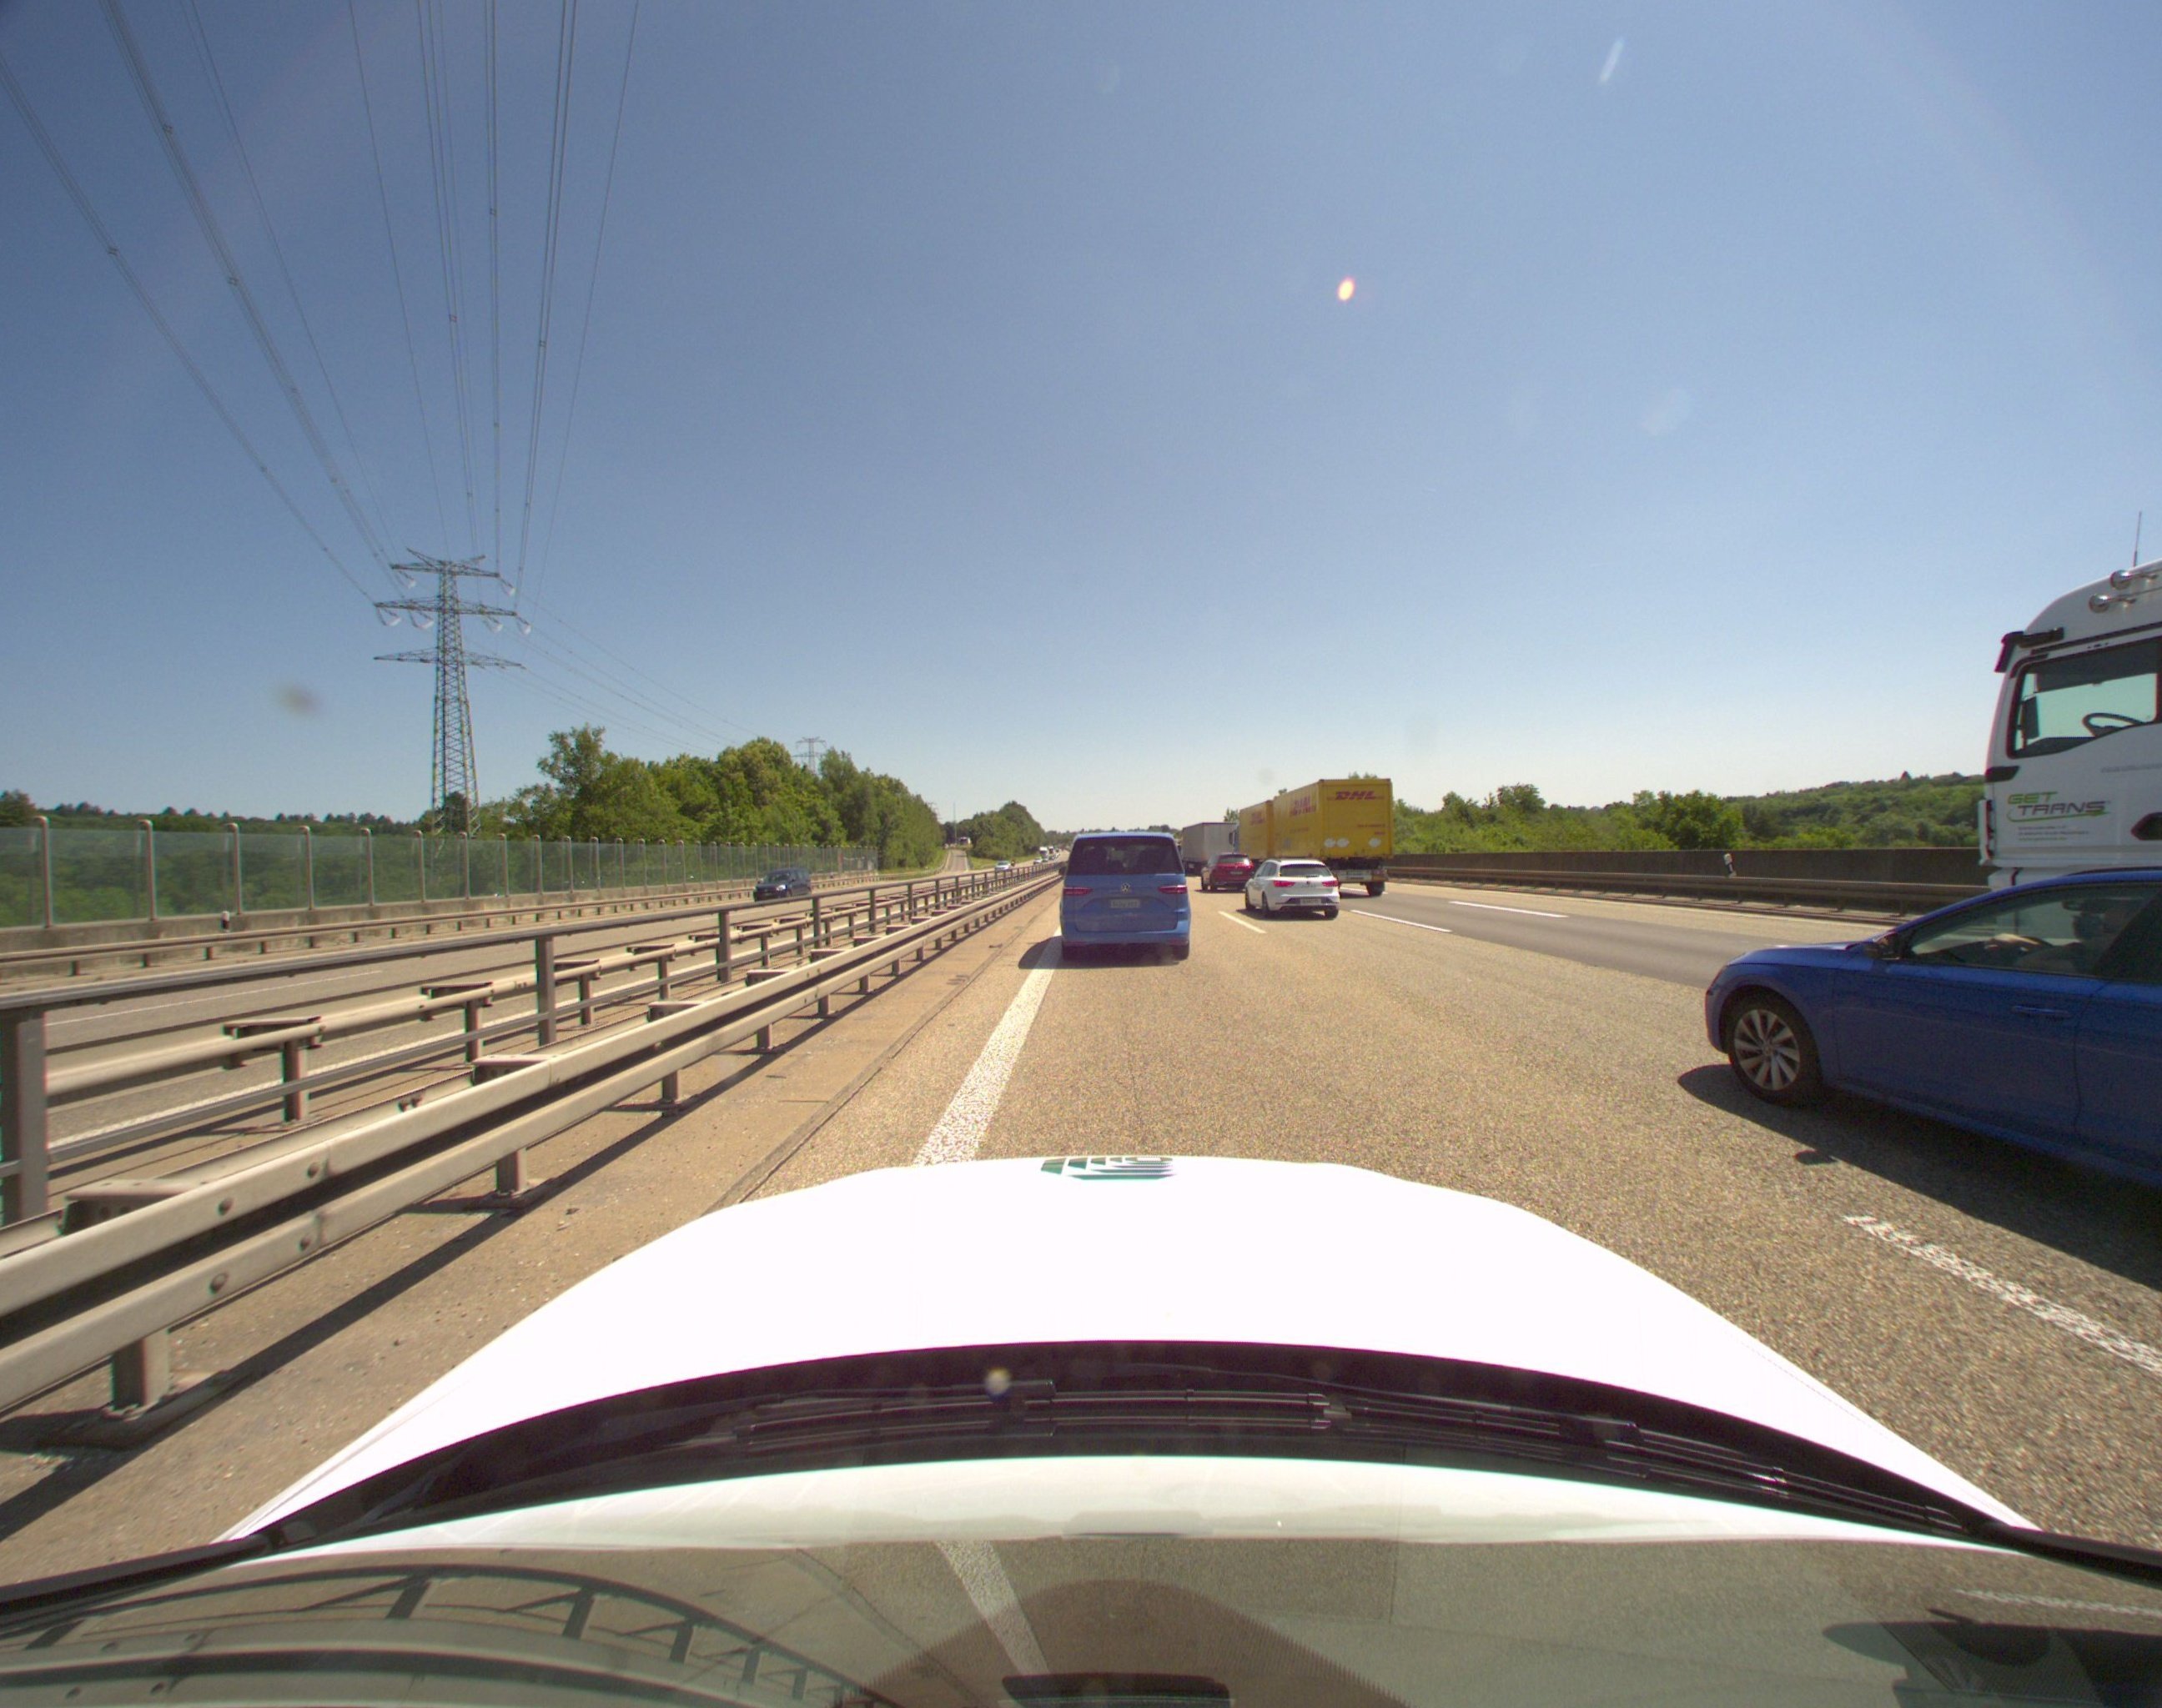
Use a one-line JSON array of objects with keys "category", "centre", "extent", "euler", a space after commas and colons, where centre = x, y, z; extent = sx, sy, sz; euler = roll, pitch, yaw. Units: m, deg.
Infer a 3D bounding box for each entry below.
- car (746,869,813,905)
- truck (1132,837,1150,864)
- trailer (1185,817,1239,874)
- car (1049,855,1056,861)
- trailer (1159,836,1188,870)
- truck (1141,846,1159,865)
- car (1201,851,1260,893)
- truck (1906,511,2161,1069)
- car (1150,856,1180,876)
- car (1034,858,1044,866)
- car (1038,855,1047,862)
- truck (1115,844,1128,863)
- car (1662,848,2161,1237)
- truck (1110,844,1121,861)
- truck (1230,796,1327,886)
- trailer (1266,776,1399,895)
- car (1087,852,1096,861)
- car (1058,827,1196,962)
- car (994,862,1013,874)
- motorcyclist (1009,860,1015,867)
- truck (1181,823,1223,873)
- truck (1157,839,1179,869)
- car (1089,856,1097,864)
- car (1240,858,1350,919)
[{"category": "car", "centre": [-15.533, 1.709, 42.210], "extent": [1.776, 1.785, 4.302], "euler": [0, -2, 1]}, {"category": "truck", "centre": [11.898, -0.638, 162.460], "extent": [2.824, 5.040, 11.144], "euler": [0, -1, 0]}, {"category": "trailer", "centre": [10.227, -0.528, 64.580], "extent": [2.745, 4.146, 11.314], "euler": [0, -1, 1]}, {"category": "car", "centre": [-8.936, 1.186, 253.390], "extent": [1.823, 1.609, 4.169], "euler": [-4, 0, 1]}, {"category": "trailer", "centre": [10.917, -0.039, 97.017], "extent": [2.371, 3.744, 11.189], "euler": [0, -1, 1]}, {"category": "truck", "centre": [12.090, 0.318, 142.530], "extent": [2.348, 3.218, 9.739], "euler": [0, -1, 0]}, {"category": "car", "centre": [6.239, 0.733, 34.342], "extent": [1.844, 1.608, 4.001], "euler": [-1, 0, 2]}, {"category": "truck", "centre": [8.385, -0.467, 1.501], "extent": [2.841, 3.603, 10.767], "euler": [0, -1, 0]}, {"category": "car", "centre": [6.398, 0.914, 62.245], "extent": [1.832, 1.414, 3.999], "euler": [-1, 0, 0]}, {"category": "car", "centre": [-9.043, 1.723, 176.021], "extent": [1.709, 1.434, 4.176], "euler": [-4, -1, 1]}, {"category": "car", "centre": [-9.563, 1.165, 204.570], "extent": [1.823, 1.609, 4.169], "euler": [-4, 0, 1]}, {"category": "truck", "centre": [11.835, -0.211, 239.277], "extent": [2.824, 5.372, 12.553], "euler": [-2, 0, 0]}, {"category": "car", "centre": [4.872, 0.695, 3.433], "extent": [1.703, 1.440, 4.501], "euler": [-1, 0, 1]}, {"category": "truck", "centre": [11.202, -0.486, 262.915], "extent": [2.824, 5.040, 12.911], "euler": [-3, 0, 0]}, {"category": "truck", "centre": [9.810, -0.503, 41.724], "extent": [2.712, 4.055, 10.339], "euler": [0, -1, 2]}, {"category": "trailer", "centre": [9.533, -0.561, 32.064], "extent": [2.691, 4.024, 8.932], "euler": [0, -1, 1]}, {"category": "car", "centre": [2.360, 0.678, 186.174], "extent": [1.986, 2.014, 4.001], "euler": [0, -1, 1]}, {"category": "car", "centre": [0.693, 0.575, 13.235], "extent": [1.875, 1.837, 4.001], "euler": [-1, 0, 2]}, {"category": "car", "centre": [-9.901, 1.791, 104.229], "extent": [1.903, 1.394, 4.166], "euler": [-3, -1, 1]}, {"category": "motorcyclist", "centre": [-13.935, 1.955, 164.566], "extent": [0.895, 1.441, 1.082], "euler": [-2, 0, 1]}, {"category": "truck", "centre": [10.349, -0.434, 70.153], "extent": [2.758, 4.096, 6.985], "euler": [0, -1, 1]}, {"category": "truck", "centre": [10.981, 0.081, 103.175], "extent": [2.359, 3.722, 6.034], "euler": [0, -1, 1]}, {"category": "car", "centre": [3.185, 1.694, 220.080], "extent": [1.986, 2.014, 4.001], "euler": [0, -1, 1]}, {"category": "car", "centre": [5.292, 0.802, 20.673], "extent": [1.774, 1.387, 4.189], "euler": [-1, 0, 2]}]
